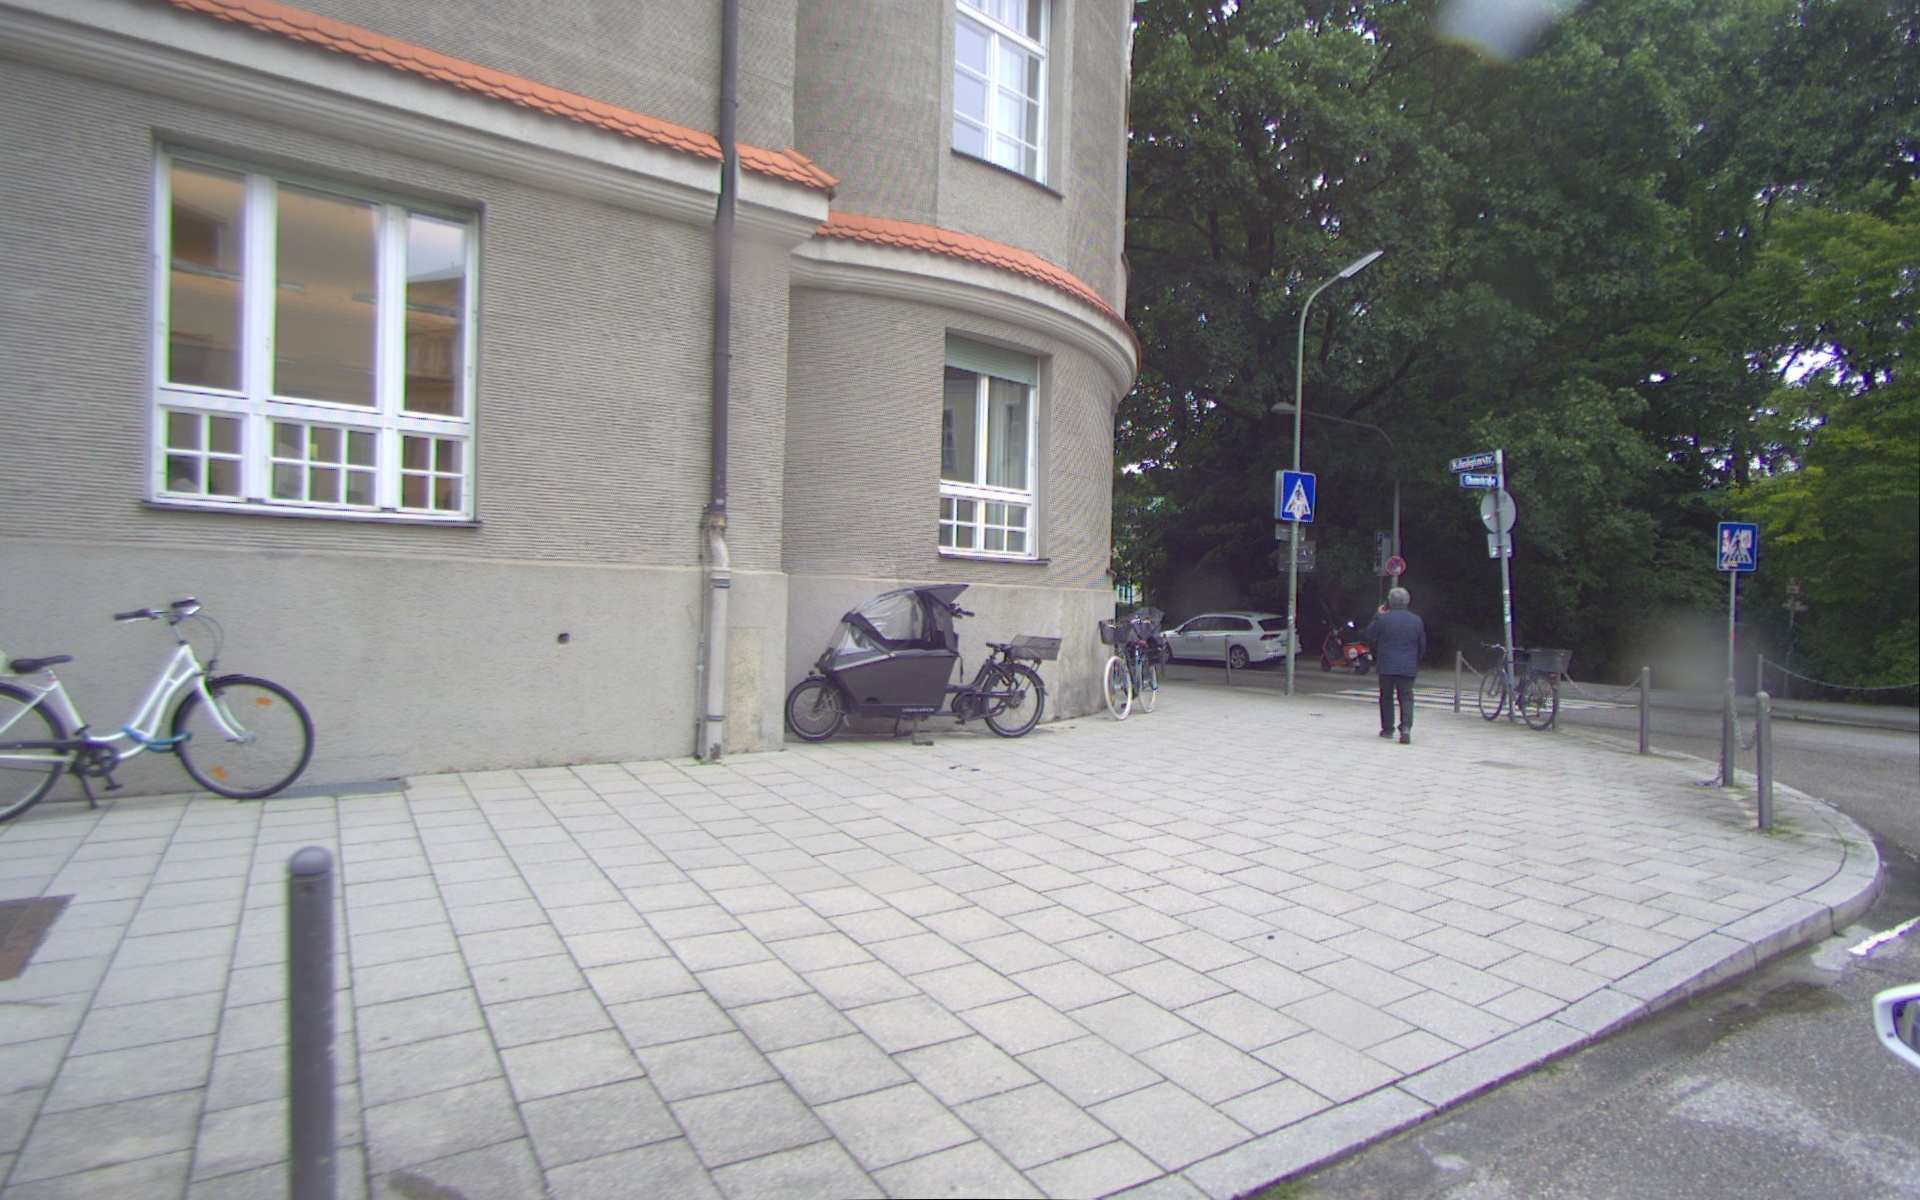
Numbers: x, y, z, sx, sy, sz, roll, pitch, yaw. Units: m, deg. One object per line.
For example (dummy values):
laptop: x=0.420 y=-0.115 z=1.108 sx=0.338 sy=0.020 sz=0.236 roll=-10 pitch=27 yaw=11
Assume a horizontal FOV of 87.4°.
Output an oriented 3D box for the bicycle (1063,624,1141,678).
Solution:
bicycle: x=3.206 y=1.154 z=22.675 sx=1.682 sy=1.162 sz=0.510 roll=2 pitch=1 yaw=-18

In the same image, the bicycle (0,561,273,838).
bicycle: x=-4.700 y=0.492 z=5.358 sx=1.660 sy=1.367 sz=0.614 roll=2 pitch=1 yaw=-38

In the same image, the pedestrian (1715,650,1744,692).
pedestrian: x=22.282 y=2.051 z=29.072 sx=0.491 sy=1.171 sz=0.469 roll=2 pitch=1 yaw=-28

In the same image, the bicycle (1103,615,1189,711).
bicycle: x=2.565 y=0.844 z=14.064 sx=0.554 sy=1.172 sz=1.924 roll=5 pitch=0 yaw=-6

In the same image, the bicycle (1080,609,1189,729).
bicycle: x=2.091 y=0.753 z=11.822 sx=0.724 sy=1.273 sz=1.924 roll=2 pitch=0 yaw=26

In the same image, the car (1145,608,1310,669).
car: x=7.389 y=1.020 z=28.127 sx=1.610 sy=1.468 sz=4.387 roll=1 pitch=0 yaw=-37

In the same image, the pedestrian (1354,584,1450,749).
pedestrian: x=4.685 y=0.679 z=10.706 sx=0.797 sy=1.663 sz=0.726 roll=2 pitch=1 yaw=17

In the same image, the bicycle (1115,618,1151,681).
bicycle: x=3.437 y=0.957 z=20.074 sx=0.502 sy=1.162 sz=1.685 roll=2 pitch=0 yaw=4

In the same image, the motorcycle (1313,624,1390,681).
motorcycle: x=9.366 y=1.229 z=24.123 sx=0.843 sy=1.199 sz=2.003 roll=-2 pitch=1 yaw=-9

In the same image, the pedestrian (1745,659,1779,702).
pedestrian: x=22.782 y=2.280 z=28.529 sx=0.491 sy=1.184 sz=0.583 roll=2 pitch=1 yaw=-28

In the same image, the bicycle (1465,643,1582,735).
bicycle: x=7.421 y=1.137 z=13.334 sx=0.502 sy=1.023 sz=2.009 roll=2 pitch=0 yaw=4

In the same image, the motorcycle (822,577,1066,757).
motorcycle: x=-0.110 y=0.563 z=9.056 sx=2.125 sy=1.460 sz=0.731 roll=2 pitch=1 yaw=-35

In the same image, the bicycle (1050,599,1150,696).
bicycle: x=2.215 y=0.719 z=16.147 sx=0.727 sy=1.432 sz=1.917 roll=2 pitch=0 yaw=-21

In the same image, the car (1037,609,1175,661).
car: x=4.637 y=1.100 z=32.490 sx=1.761 sy=1.451 sz=4.469 roll=2 pitch=0 yaw=-36
